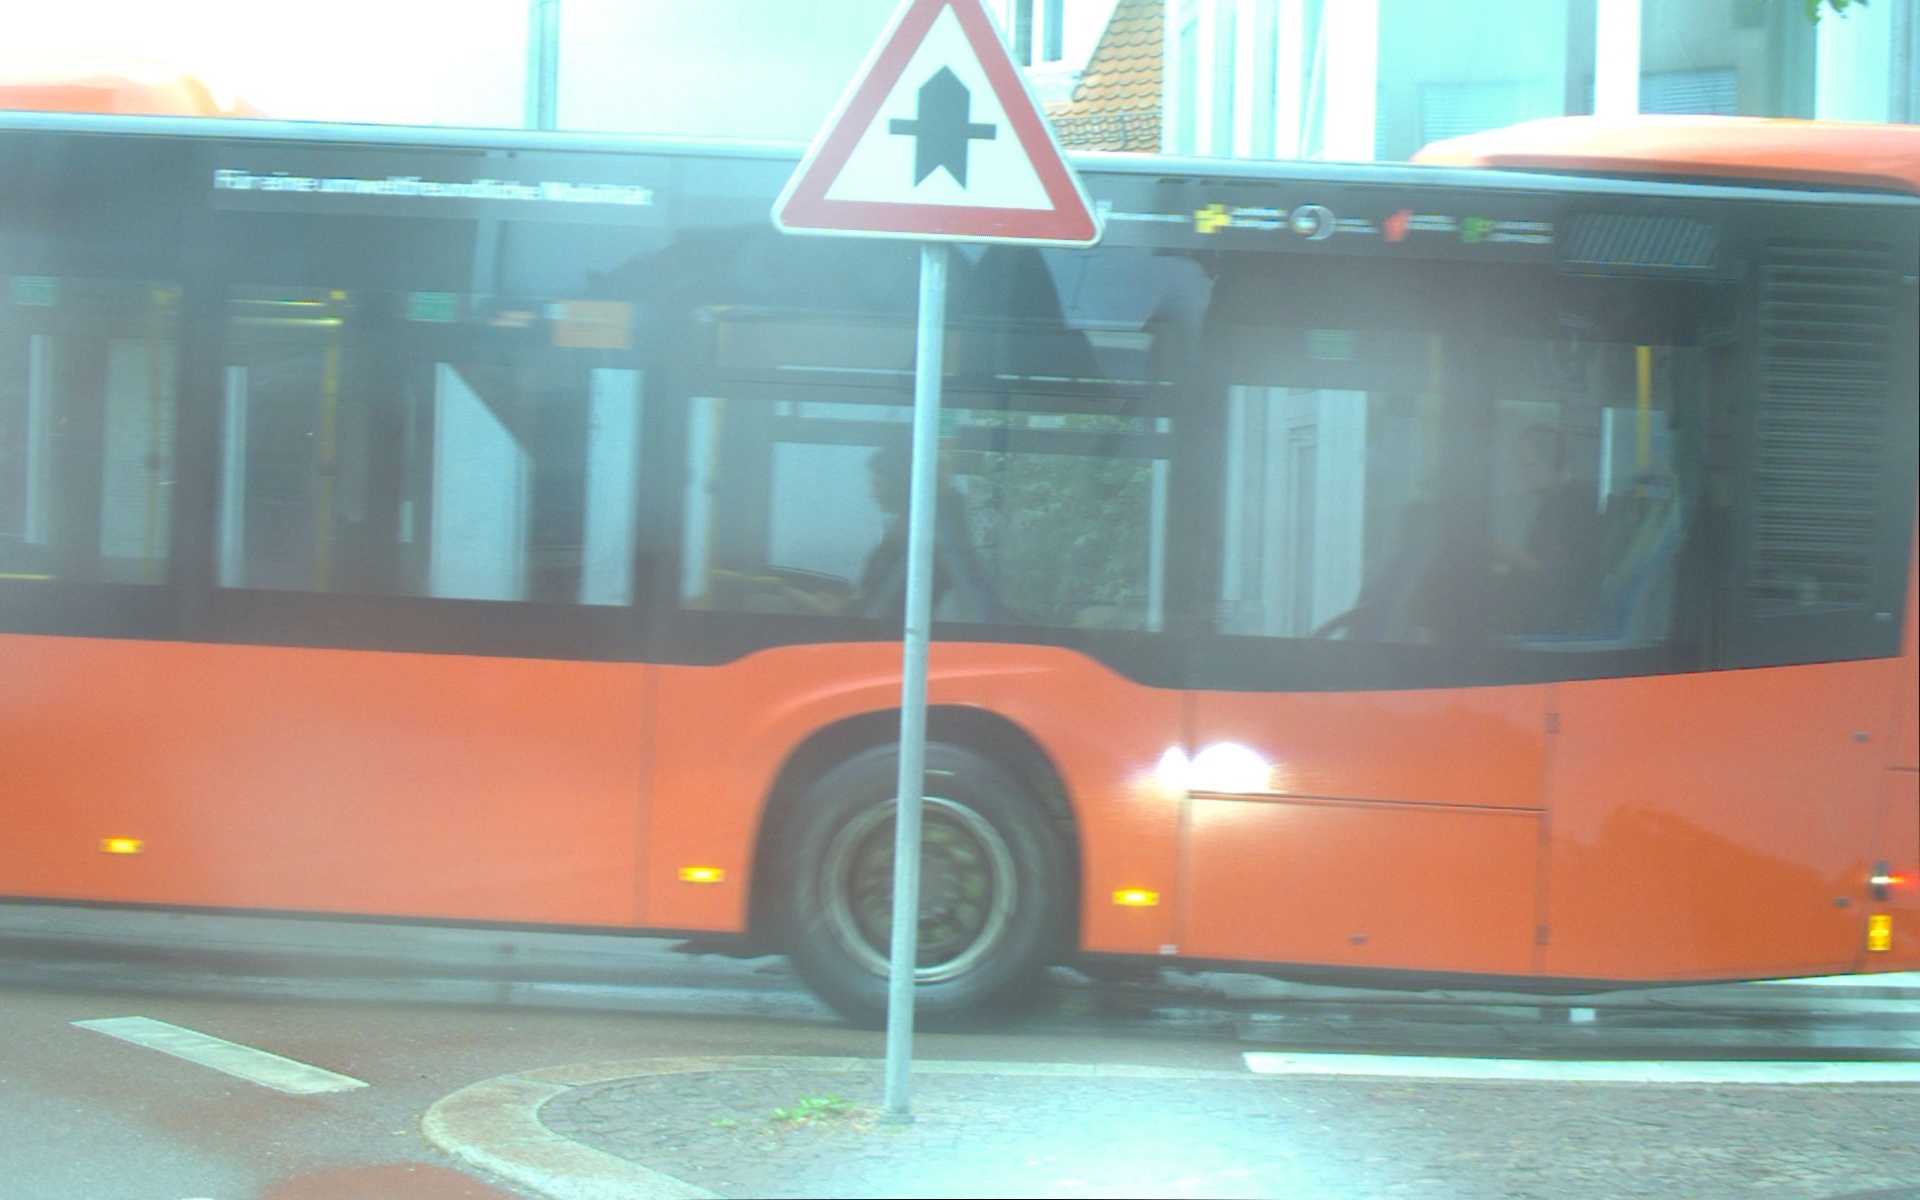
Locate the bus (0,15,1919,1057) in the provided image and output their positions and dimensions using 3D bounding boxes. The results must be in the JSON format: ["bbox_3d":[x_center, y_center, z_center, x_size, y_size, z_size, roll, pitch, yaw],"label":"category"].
[{"bbox_3d":[-1.819,-0.293,12.106,10.573,3.078,2.822,1,1,2],"label":"bus"}]
